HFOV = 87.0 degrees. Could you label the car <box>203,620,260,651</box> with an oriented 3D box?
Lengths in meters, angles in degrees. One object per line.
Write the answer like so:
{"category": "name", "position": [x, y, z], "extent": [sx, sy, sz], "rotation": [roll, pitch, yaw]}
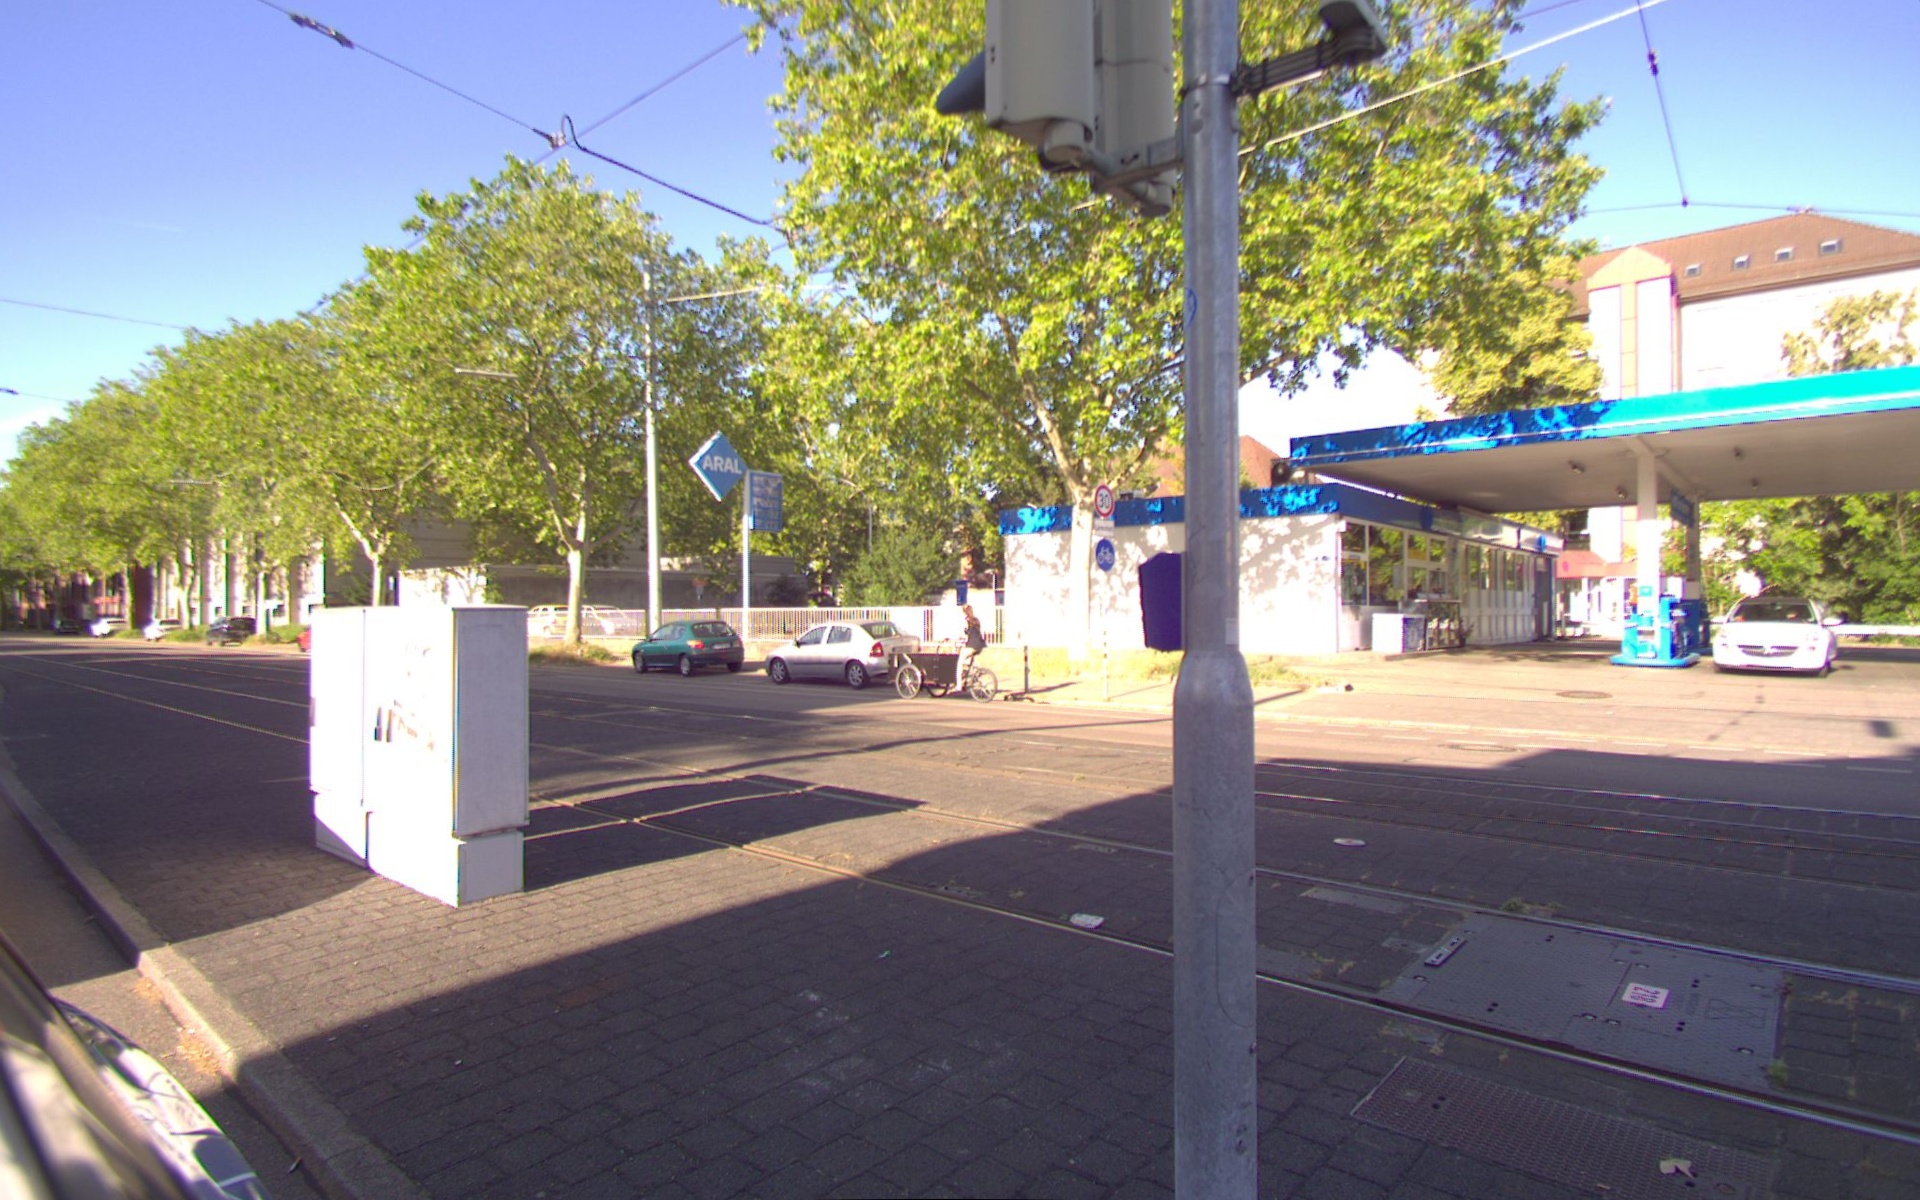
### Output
{"category": "car", "position": [-40.750, 1.950, 56.583], "extent": [3.998, 1.674, 1.779], "rotation": [-1, -1, 41]}

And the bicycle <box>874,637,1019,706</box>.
{"category": "bicycle", "position": [-0.273, 1.224, 17.884], "extent": [2.518, 1.110, 1.045], "rotation": [-1, -3, 41]}

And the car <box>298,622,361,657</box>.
{"category": "car", "position": [-28.551, 1.749, 45.793], "extent": [3.045, 1.519, 1.620], "rotation": [-1, -1, 41]}

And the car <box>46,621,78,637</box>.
{"category": "car", "position": [-85.320, 2.726, 96.110], "extent": [3.998, 1.525, 1.779], "rotation": [-1, -1, 41]}

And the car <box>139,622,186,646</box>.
{"category": "car", "position": [-53.717, 2.262, 68.156], "extent": [3.998, 1.509, 1.779], "rotation": [-1, -1, 41]}

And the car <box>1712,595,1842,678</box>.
{"category": "car", "position": [16.032, 0.675, 19.902], "extent": [1.812, 1.453, 3.947], "rotation": [-1, -1, 39]}

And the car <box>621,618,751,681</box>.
{"category": "car", "position": [-7.324, 1.275, 26.926], "extent": [3.519, 1.475, 1.670], "rotation": [-1, 2, 43]}

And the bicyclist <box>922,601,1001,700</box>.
{"category": "bicyclist", "position": [0.026, 0.860, 17.670], "extent": [1.027, 1.650, 0.922], "rotation": [-2, -1, 41]}

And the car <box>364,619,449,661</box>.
{"category": "car", "position": [-21.937, 1.549, 40.045], "extent": [3.652, 1.541, 1.802], "rotation": [-1, -1, 41]}

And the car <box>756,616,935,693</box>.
{"category": "car", "position": [-2.625, 1.158, 22.656], "extent": [3.965, 1.475, 1.771], "rotation": [-1, 2, 43]}

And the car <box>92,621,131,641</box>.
{"category": "car", "position": [-66.681, 2.397, 79.522], "extent": [3.998, 1.525, 1.779], "rotation": [-1, -1, 41]}

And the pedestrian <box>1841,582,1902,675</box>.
{"category": "pedestrian", "position": [17.061, 0.525, 18.955], "extent": [0.760, 1.705, 0.579], "rotation": [-1, -2, 37]}
